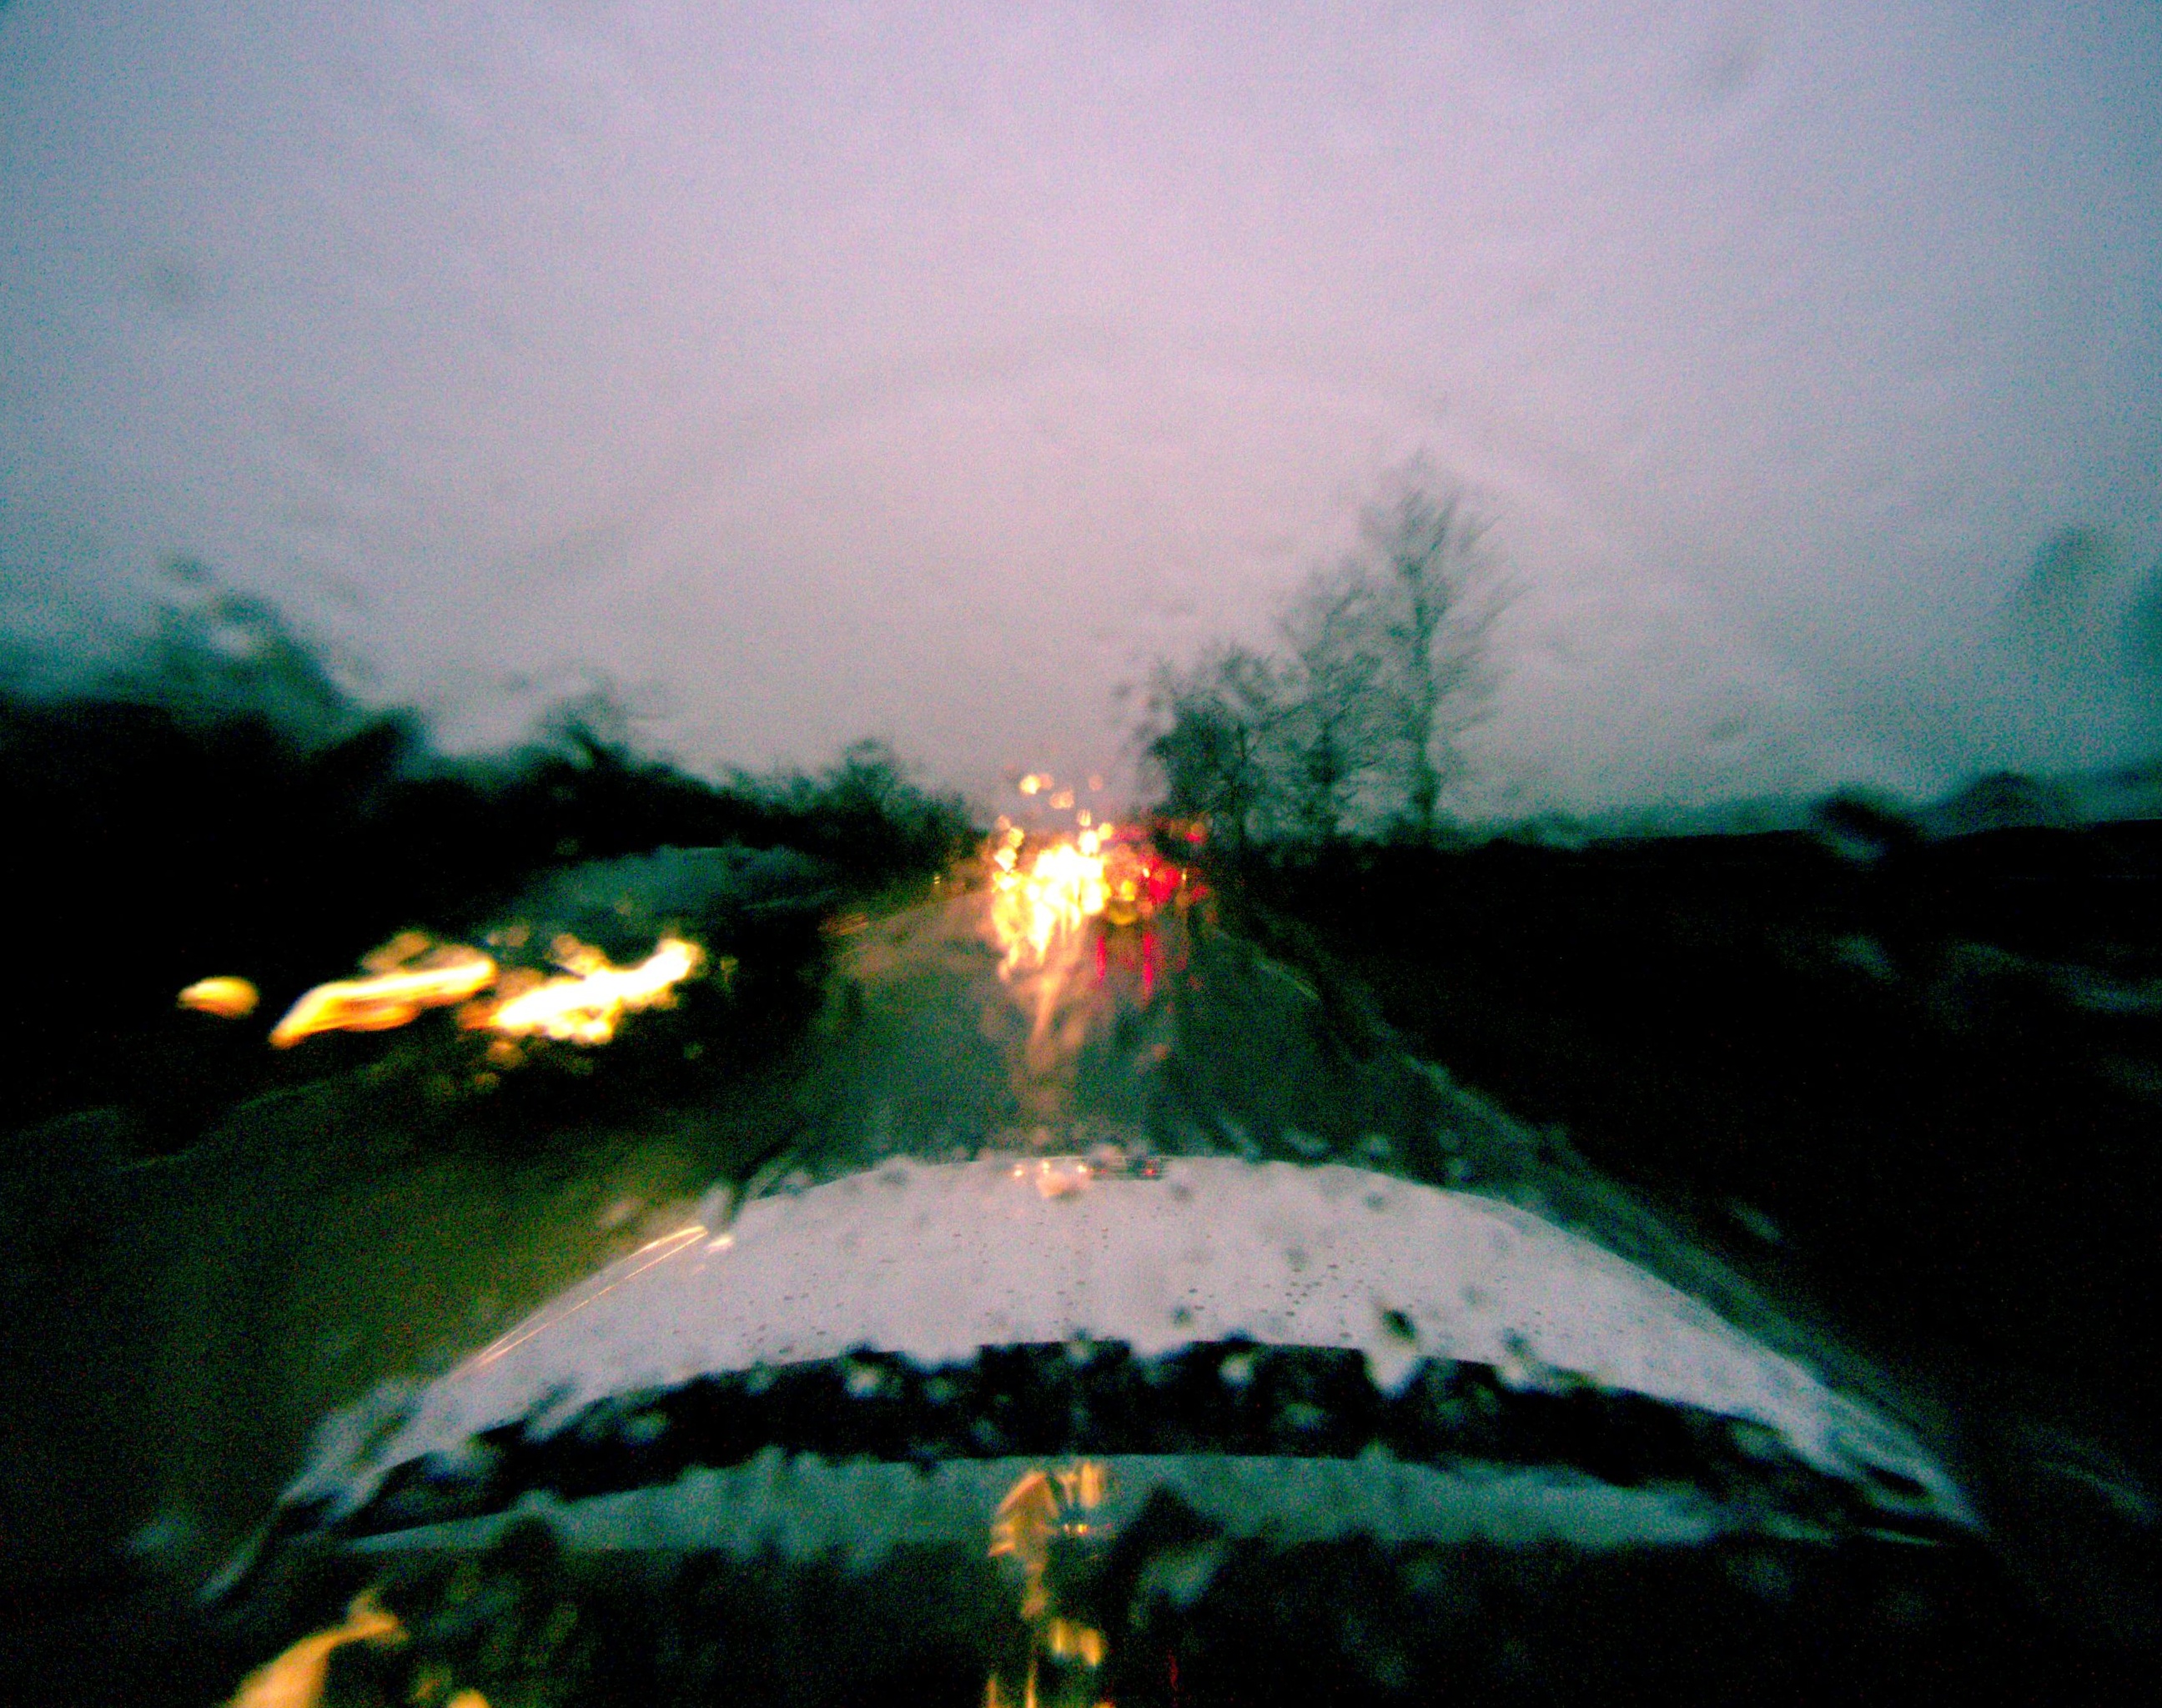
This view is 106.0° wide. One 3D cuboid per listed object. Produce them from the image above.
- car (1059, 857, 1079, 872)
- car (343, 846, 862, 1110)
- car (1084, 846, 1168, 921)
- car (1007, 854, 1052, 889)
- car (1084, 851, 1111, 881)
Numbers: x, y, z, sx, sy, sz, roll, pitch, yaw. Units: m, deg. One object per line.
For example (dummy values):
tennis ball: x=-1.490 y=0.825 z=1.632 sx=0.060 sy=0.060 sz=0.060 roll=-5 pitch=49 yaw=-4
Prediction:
car: x=-1.198 y=1.070 z=82.216 sx=1.810 sy=1.441 sz=3.458 roll=0 pitch=0 yaw=3
car: x=-3.573 y=0.770 z=7.347 sx=1.773 sy=1.596 sz=4.694 roll=-1 pitch=0 yaw=2
car: x=1.180 y=0.711 z=21.473 sx=1.985 sy=1.784 sz=4.003 roll=0 pitch=0 yaw=3
car: x=-2.569 y=0.833 z=41.207 sx=1.916 sy=1.654 sz=4.105 roll=-1 pitch=0 yaw=1
car: x=1.083 y=0.766 z=52.170 sx=1.568 sy=1.875 sz=3.712 roll=0 pitch=0 yaw=3
